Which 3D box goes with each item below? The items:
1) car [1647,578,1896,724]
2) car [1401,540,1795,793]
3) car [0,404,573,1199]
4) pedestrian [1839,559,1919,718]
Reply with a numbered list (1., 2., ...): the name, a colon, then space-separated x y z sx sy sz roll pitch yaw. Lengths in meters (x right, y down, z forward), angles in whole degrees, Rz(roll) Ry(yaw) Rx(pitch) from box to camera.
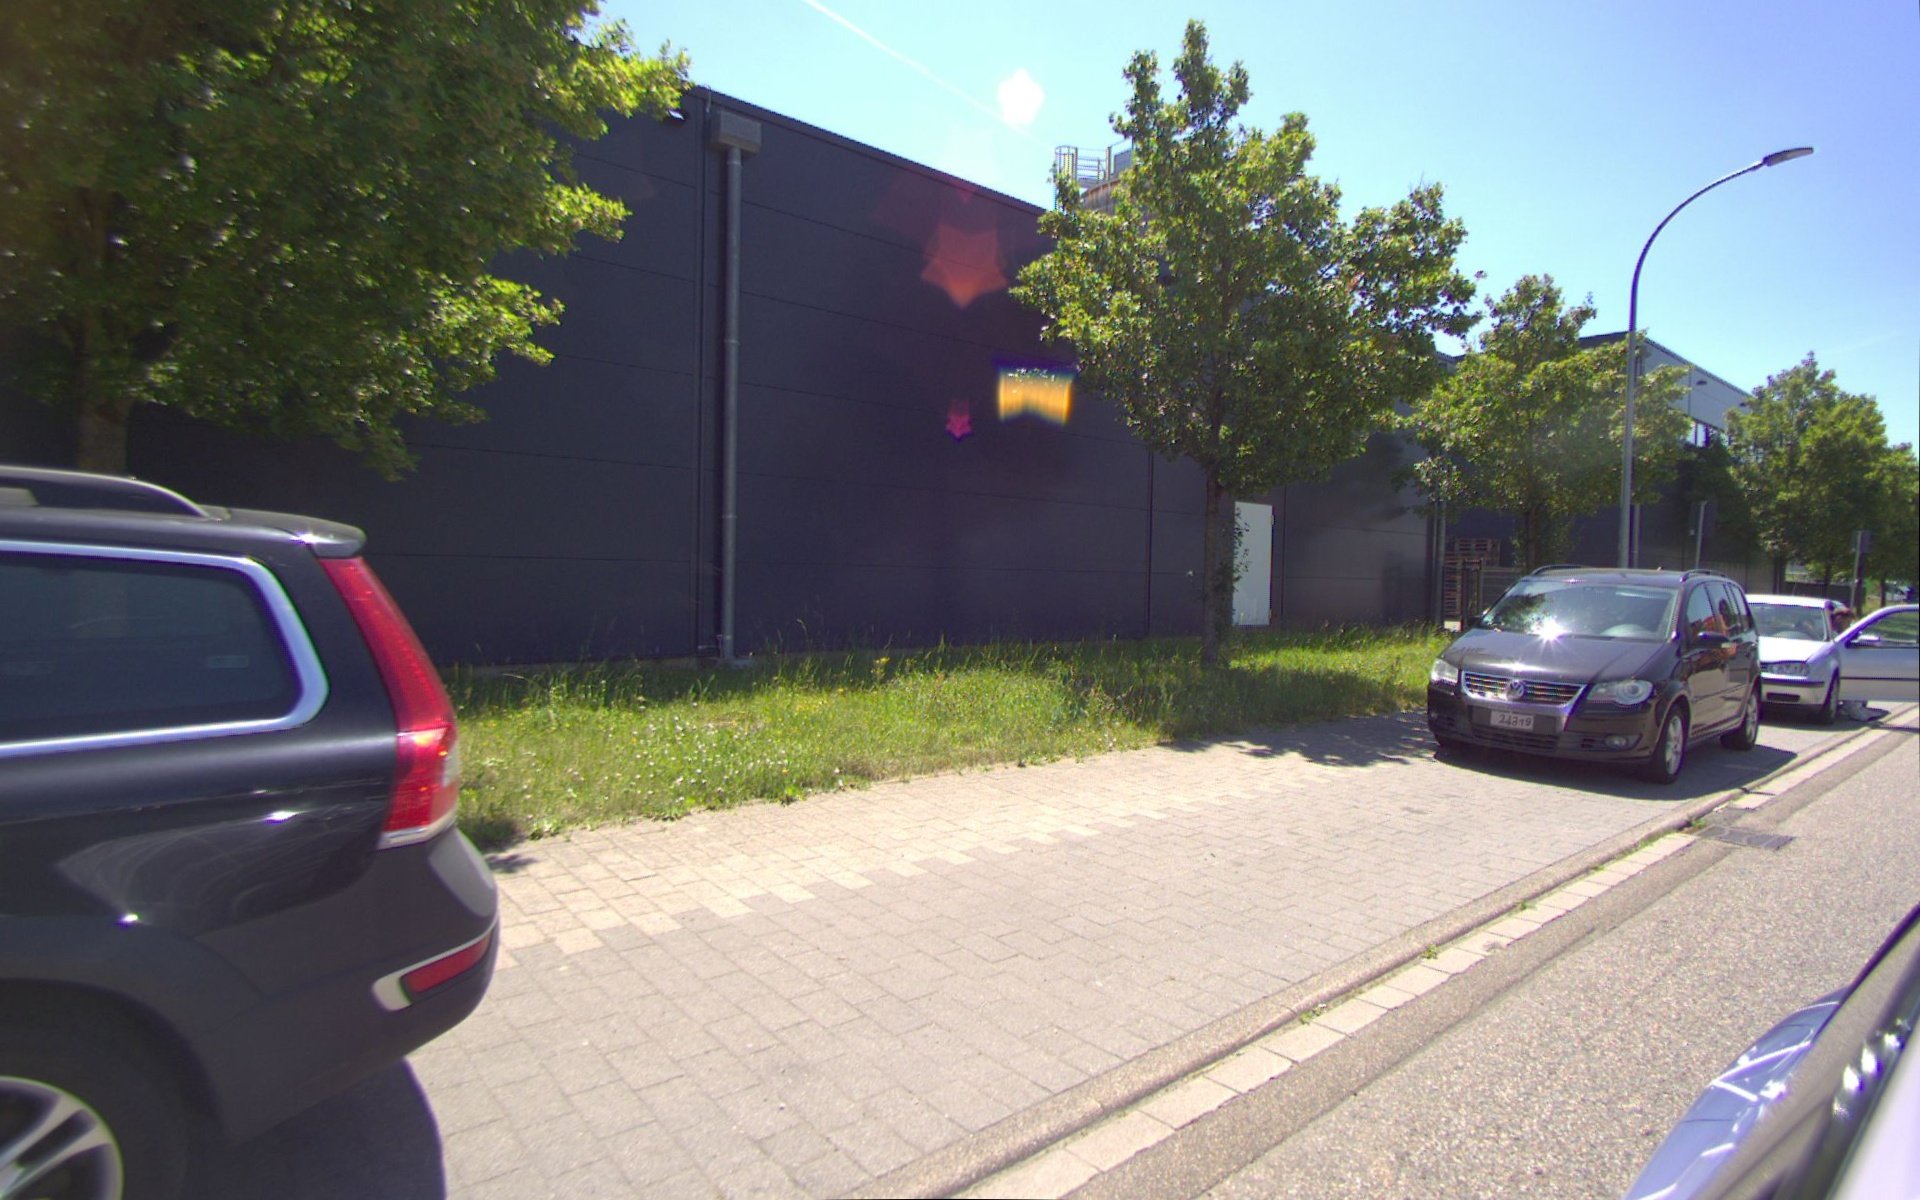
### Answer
1. car: 10.327 0.521 12.776 4.116 1.475 1.710 0 3 -41
2. car: 5.772 0.406 8.927 4.292 1.690 1.741 0 3 -41
3. car: -3.208 0.450 1.423 4.632 1.637 1.811 0 3 -41
4. pedestrian: 11.107 0.435 12.039 0.710 1.832 0.702 1 1 14
